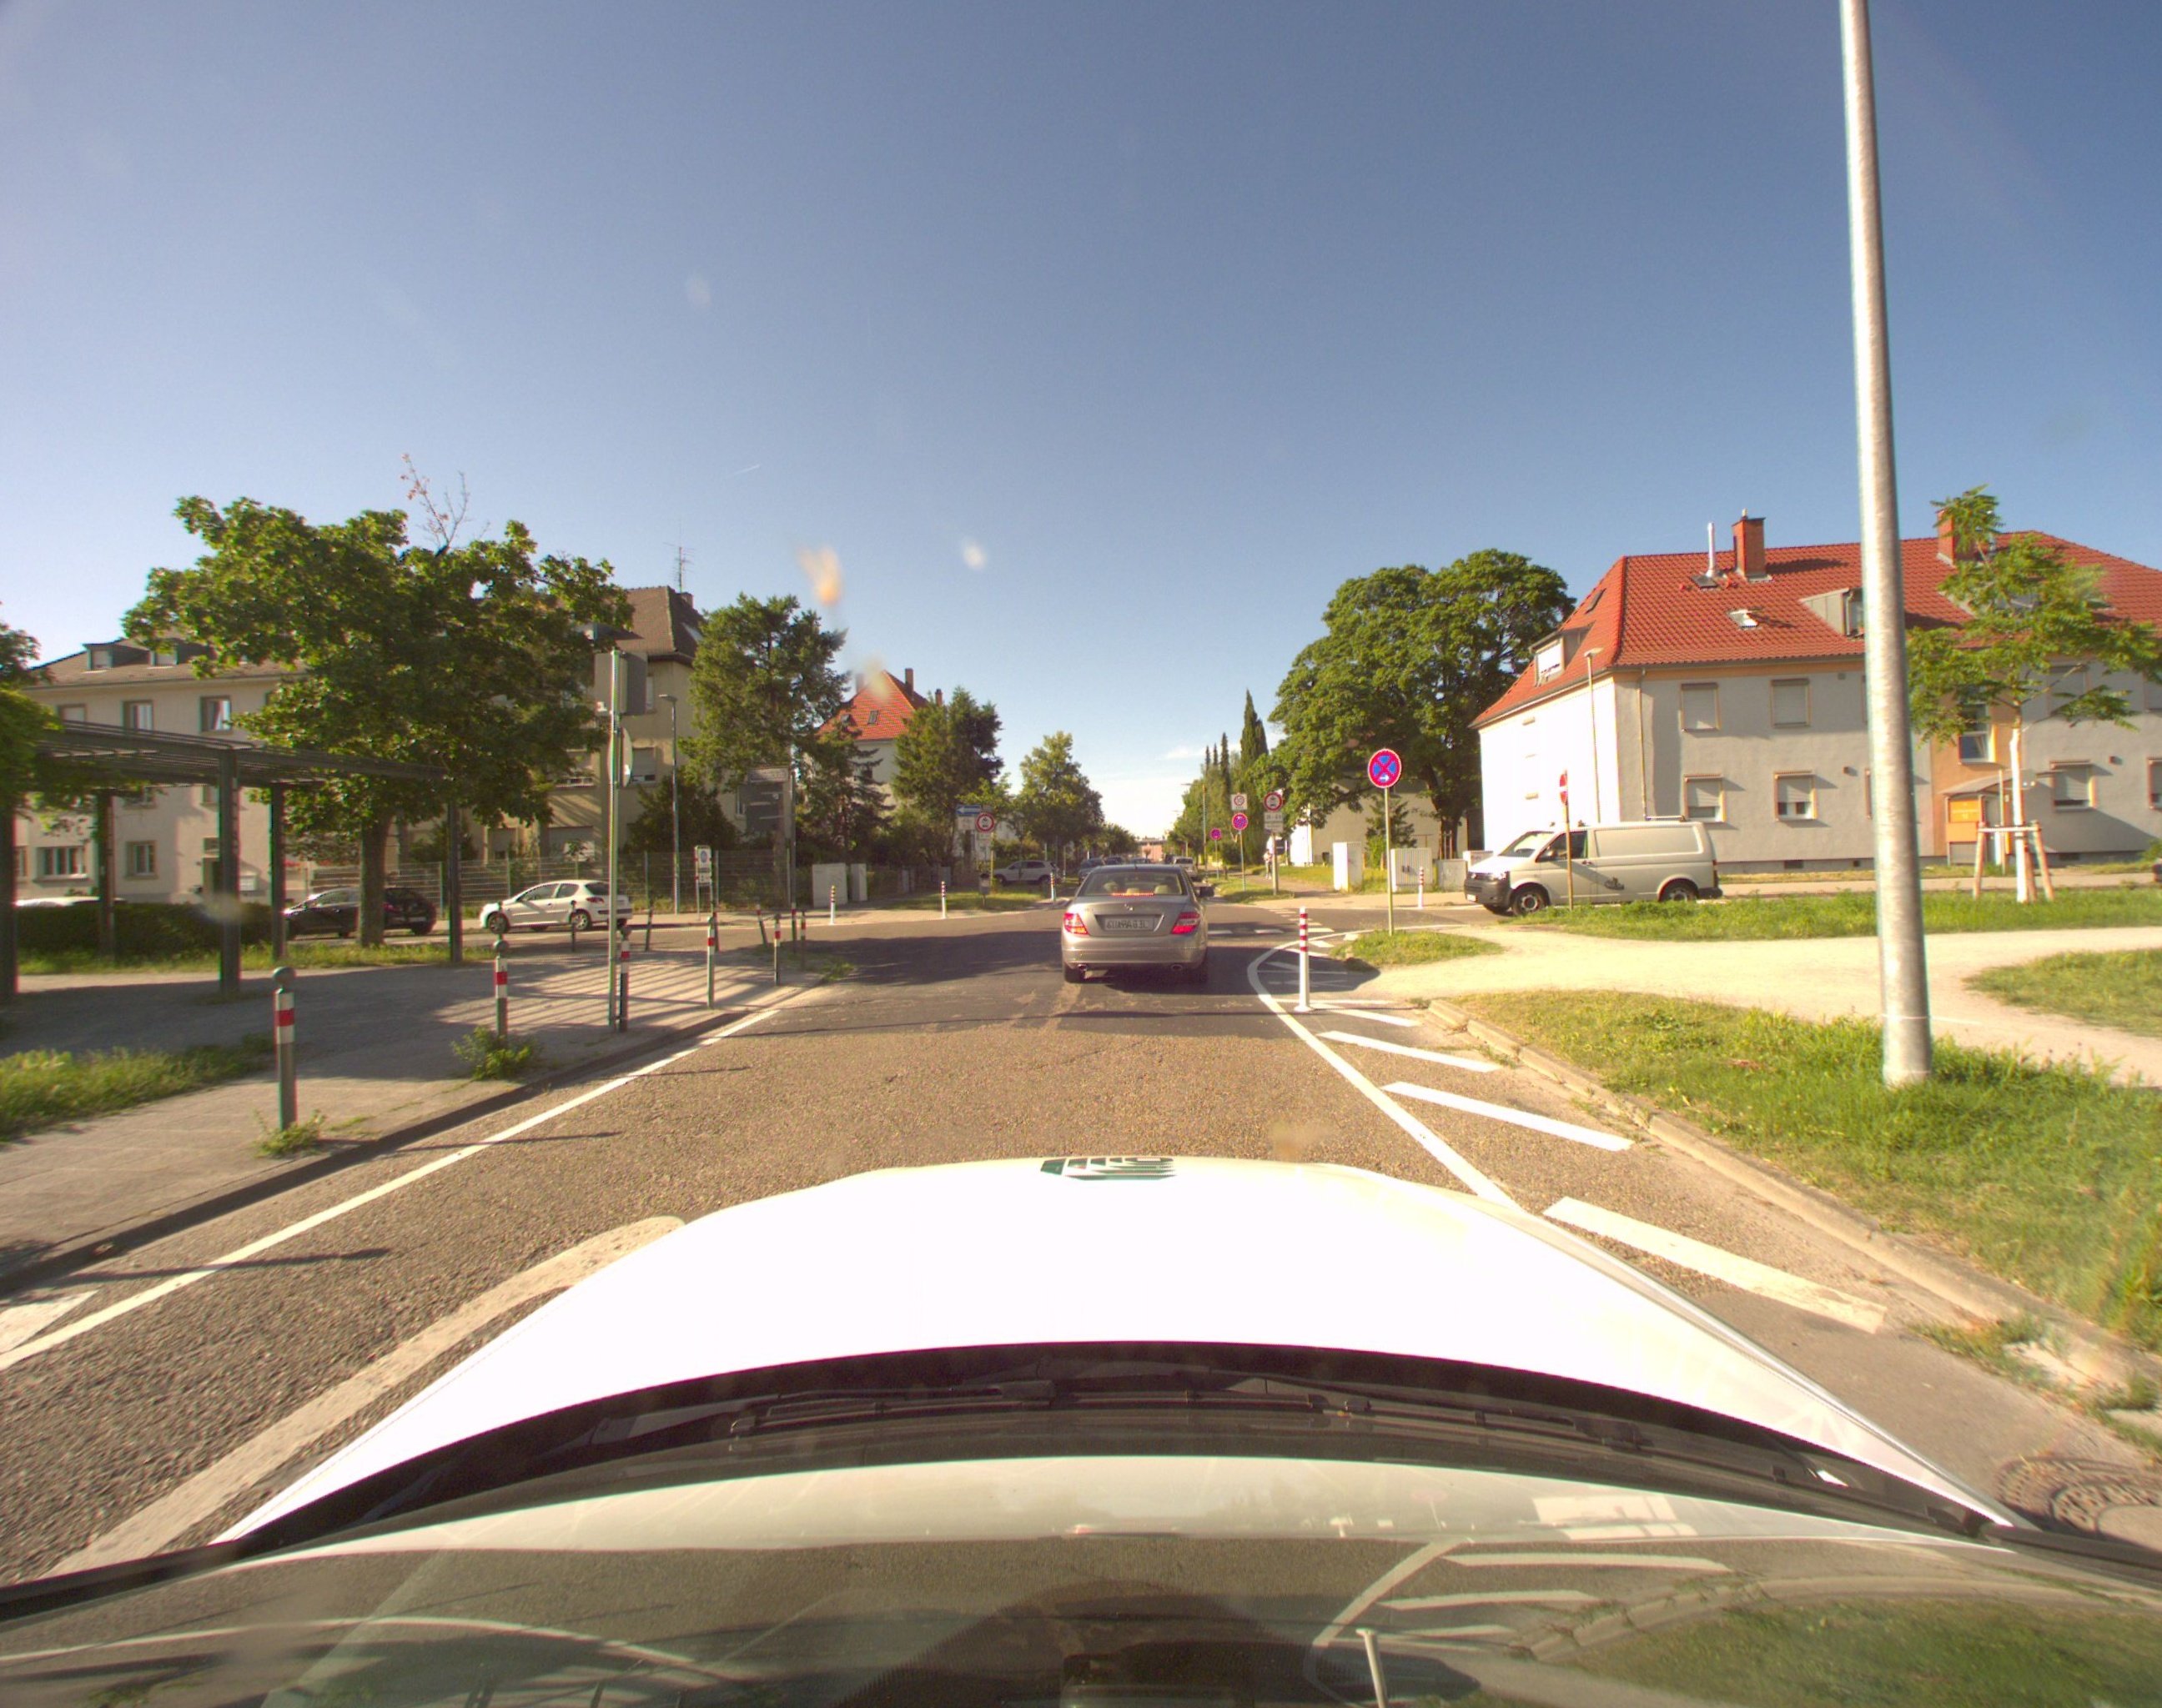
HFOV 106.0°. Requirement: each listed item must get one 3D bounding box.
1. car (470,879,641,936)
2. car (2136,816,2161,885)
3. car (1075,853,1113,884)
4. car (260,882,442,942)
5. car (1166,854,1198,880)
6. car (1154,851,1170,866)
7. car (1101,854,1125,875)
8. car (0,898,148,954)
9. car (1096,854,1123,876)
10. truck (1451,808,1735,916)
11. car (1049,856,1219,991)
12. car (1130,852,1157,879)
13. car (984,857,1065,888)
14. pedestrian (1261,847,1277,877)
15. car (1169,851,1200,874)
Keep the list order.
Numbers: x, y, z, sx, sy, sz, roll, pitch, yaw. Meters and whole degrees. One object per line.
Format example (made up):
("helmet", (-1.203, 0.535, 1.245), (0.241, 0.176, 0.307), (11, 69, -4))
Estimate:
("car", (-14.768, 1.473, 22.984), (3.746, 1.398, 1.709), (-2, -1, 4))
("car", (28.084, -0.151, 19.146), (4.031, 1.664, 1.724), (-2, 0, 5))
("car", (0.814, 0.851, 49.388), (1.985, 1.609, 4.003), (-5, 0, 3))
("car", (-20.765, 1.639, 23.241), (3.795, 1.495, 1.679), (-2, -1, 5))
("car", (6.318, 0.783, 51.242), (1.726, 1.480, 3.728), (-2, 0, 3))
("car", (10.625, 0.541, 107.003), (1.846, 1.841, 4.005), (-2, 0, 4))
("car", (2.916, 0.903, 72.934), (1.985, 1.609, 4.003), (-5, 0, 3))
("car", (-30.707, 2.145, 24.273), (3.968, 1.495, 1.804), (-2, -1, 5))
("car", (2.395, 0.907, 67.153), (1.985, 1.609, 4.003), (-5, 0, 3))
("truck", (10.978, 0.175, 17.794), (4.835, 2.036, 2.003), (-2, 0, 4))
("car", (0.791, 0.774, 10.915), (1.827, 1.441, 4.007), (-1, 0, 6))
("car", (4.030, 0.728, 52.680), (1.590, 1.609, 3.647), (-2, 0, 3))
("car", (-3.043, 0.985, 44.514), (4.176, 1.564, 1.843), (-1, 0, 2))
("pedestrian", (10.271, 0.429, 44.576), (0.761, 1.611, 0.836), (-2, -1, 10))
("car", (7.847, 0.648, 62.035), (1.985, 1.609, 4.003), (-2, 0, 3))
